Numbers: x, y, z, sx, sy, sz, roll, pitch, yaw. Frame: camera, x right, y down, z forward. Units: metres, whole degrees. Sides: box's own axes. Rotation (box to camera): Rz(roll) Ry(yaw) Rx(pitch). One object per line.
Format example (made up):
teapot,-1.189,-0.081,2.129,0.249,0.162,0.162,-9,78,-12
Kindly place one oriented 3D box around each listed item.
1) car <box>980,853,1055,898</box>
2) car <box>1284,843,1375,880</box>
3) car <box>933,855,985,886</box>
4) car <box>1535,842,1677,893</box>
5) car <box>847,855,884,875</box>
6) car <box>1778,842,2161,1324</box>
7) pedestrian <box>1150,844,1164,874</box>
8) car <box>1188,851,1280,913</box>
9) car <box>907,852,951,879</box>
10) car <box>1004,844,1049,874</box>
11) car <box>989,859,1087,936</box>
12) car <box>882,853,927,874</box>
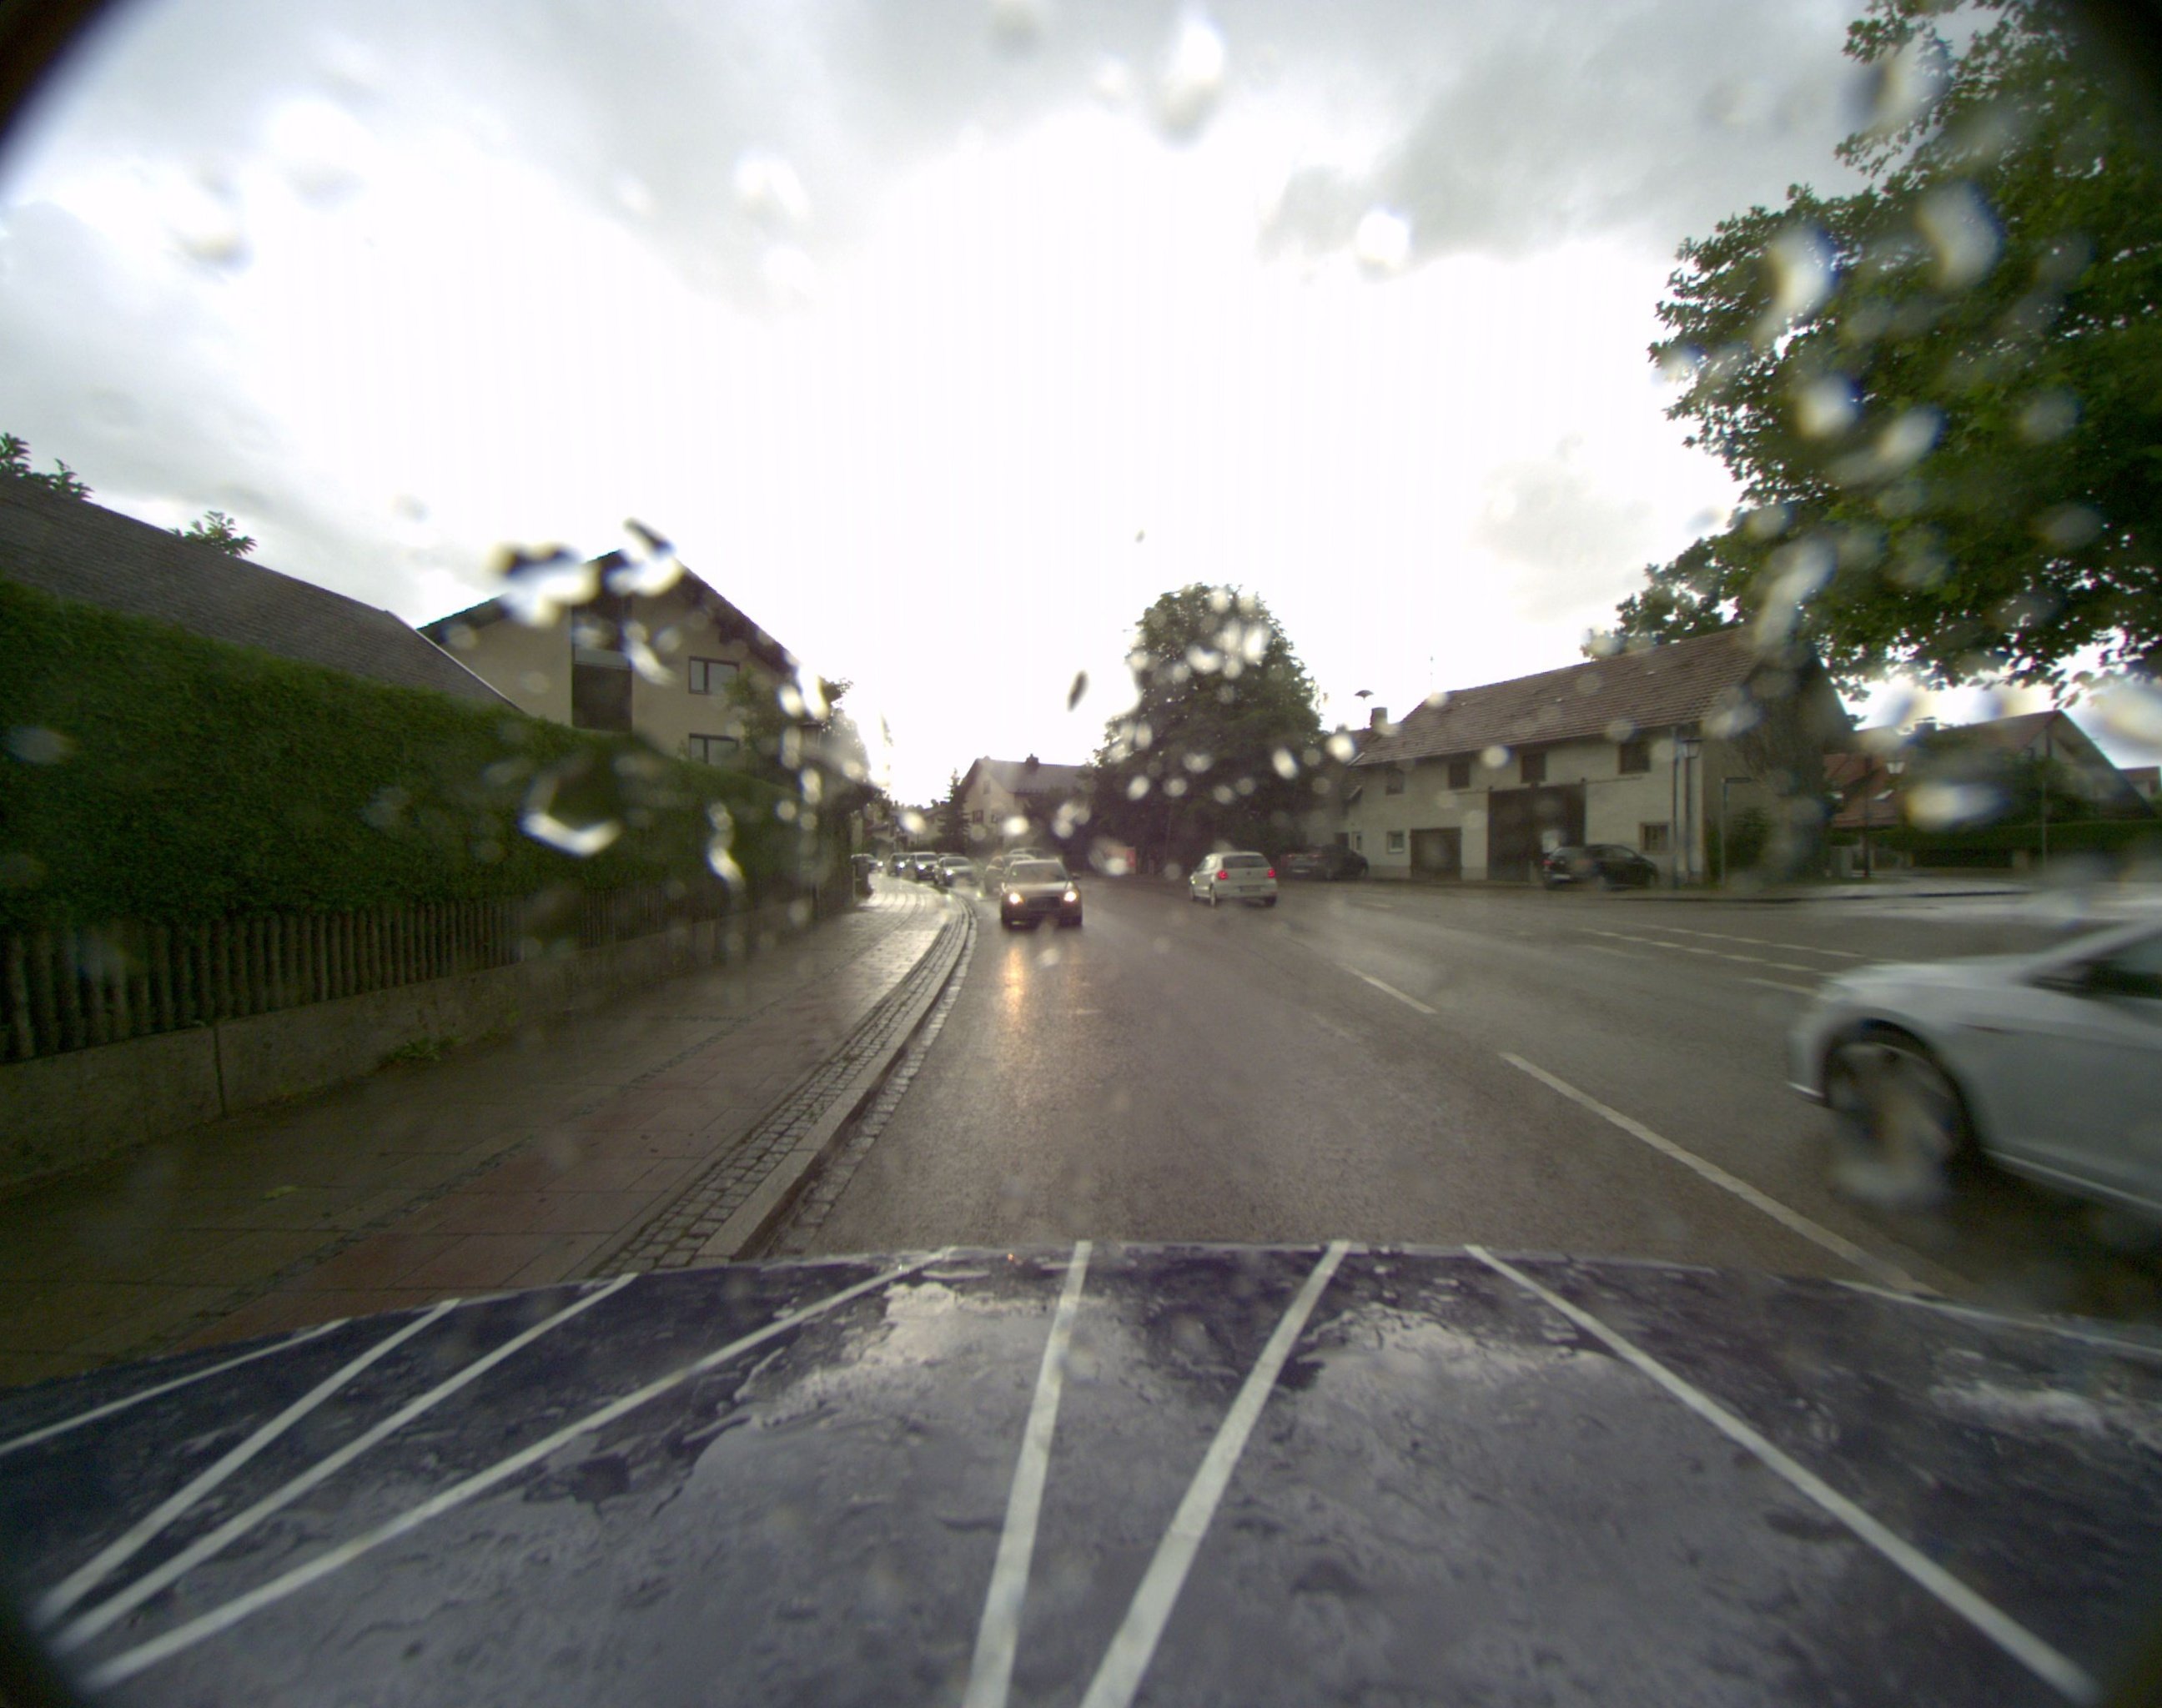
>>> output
car,-2.611,0.766,29.893,1.796,1.471,5.377,-3,1,-17
car,10.856,0.324,33.027,4.290,1.539,1.812,1,0,-41
car,-6.366,0.802,39.261,1.796,1.387,4.273,-3,1,-20
car,16.422,0.367,23.753,4.287,1.428,1.817,-1,1,-27
car,-18.031,0.871,63.493,1.798,1.539,4.271,-3,1,-32
car,4.181,0.737,1.700,1.720,1.434,4.000,-2,1,4
pedestrian,4.183,0.279,41.609,0.652,1.619,0.479,-1,1,18
car,4.105,0.697,20.964,1.622,1.436,3.669,-2,1,-3
car,-9.512,0.687,47.228,1.797,1.539,4.273,-3,1,-23
car,-3.466,0.278,47.969,1.647,1.755,4.323,-3,1,-20
car,-1.128,0.898,17.653,1.795,1.387,4.277,-3,1,-9
car,-12.671,0.638,54.317,1.798,1.365,4.271,-3,1,-32
